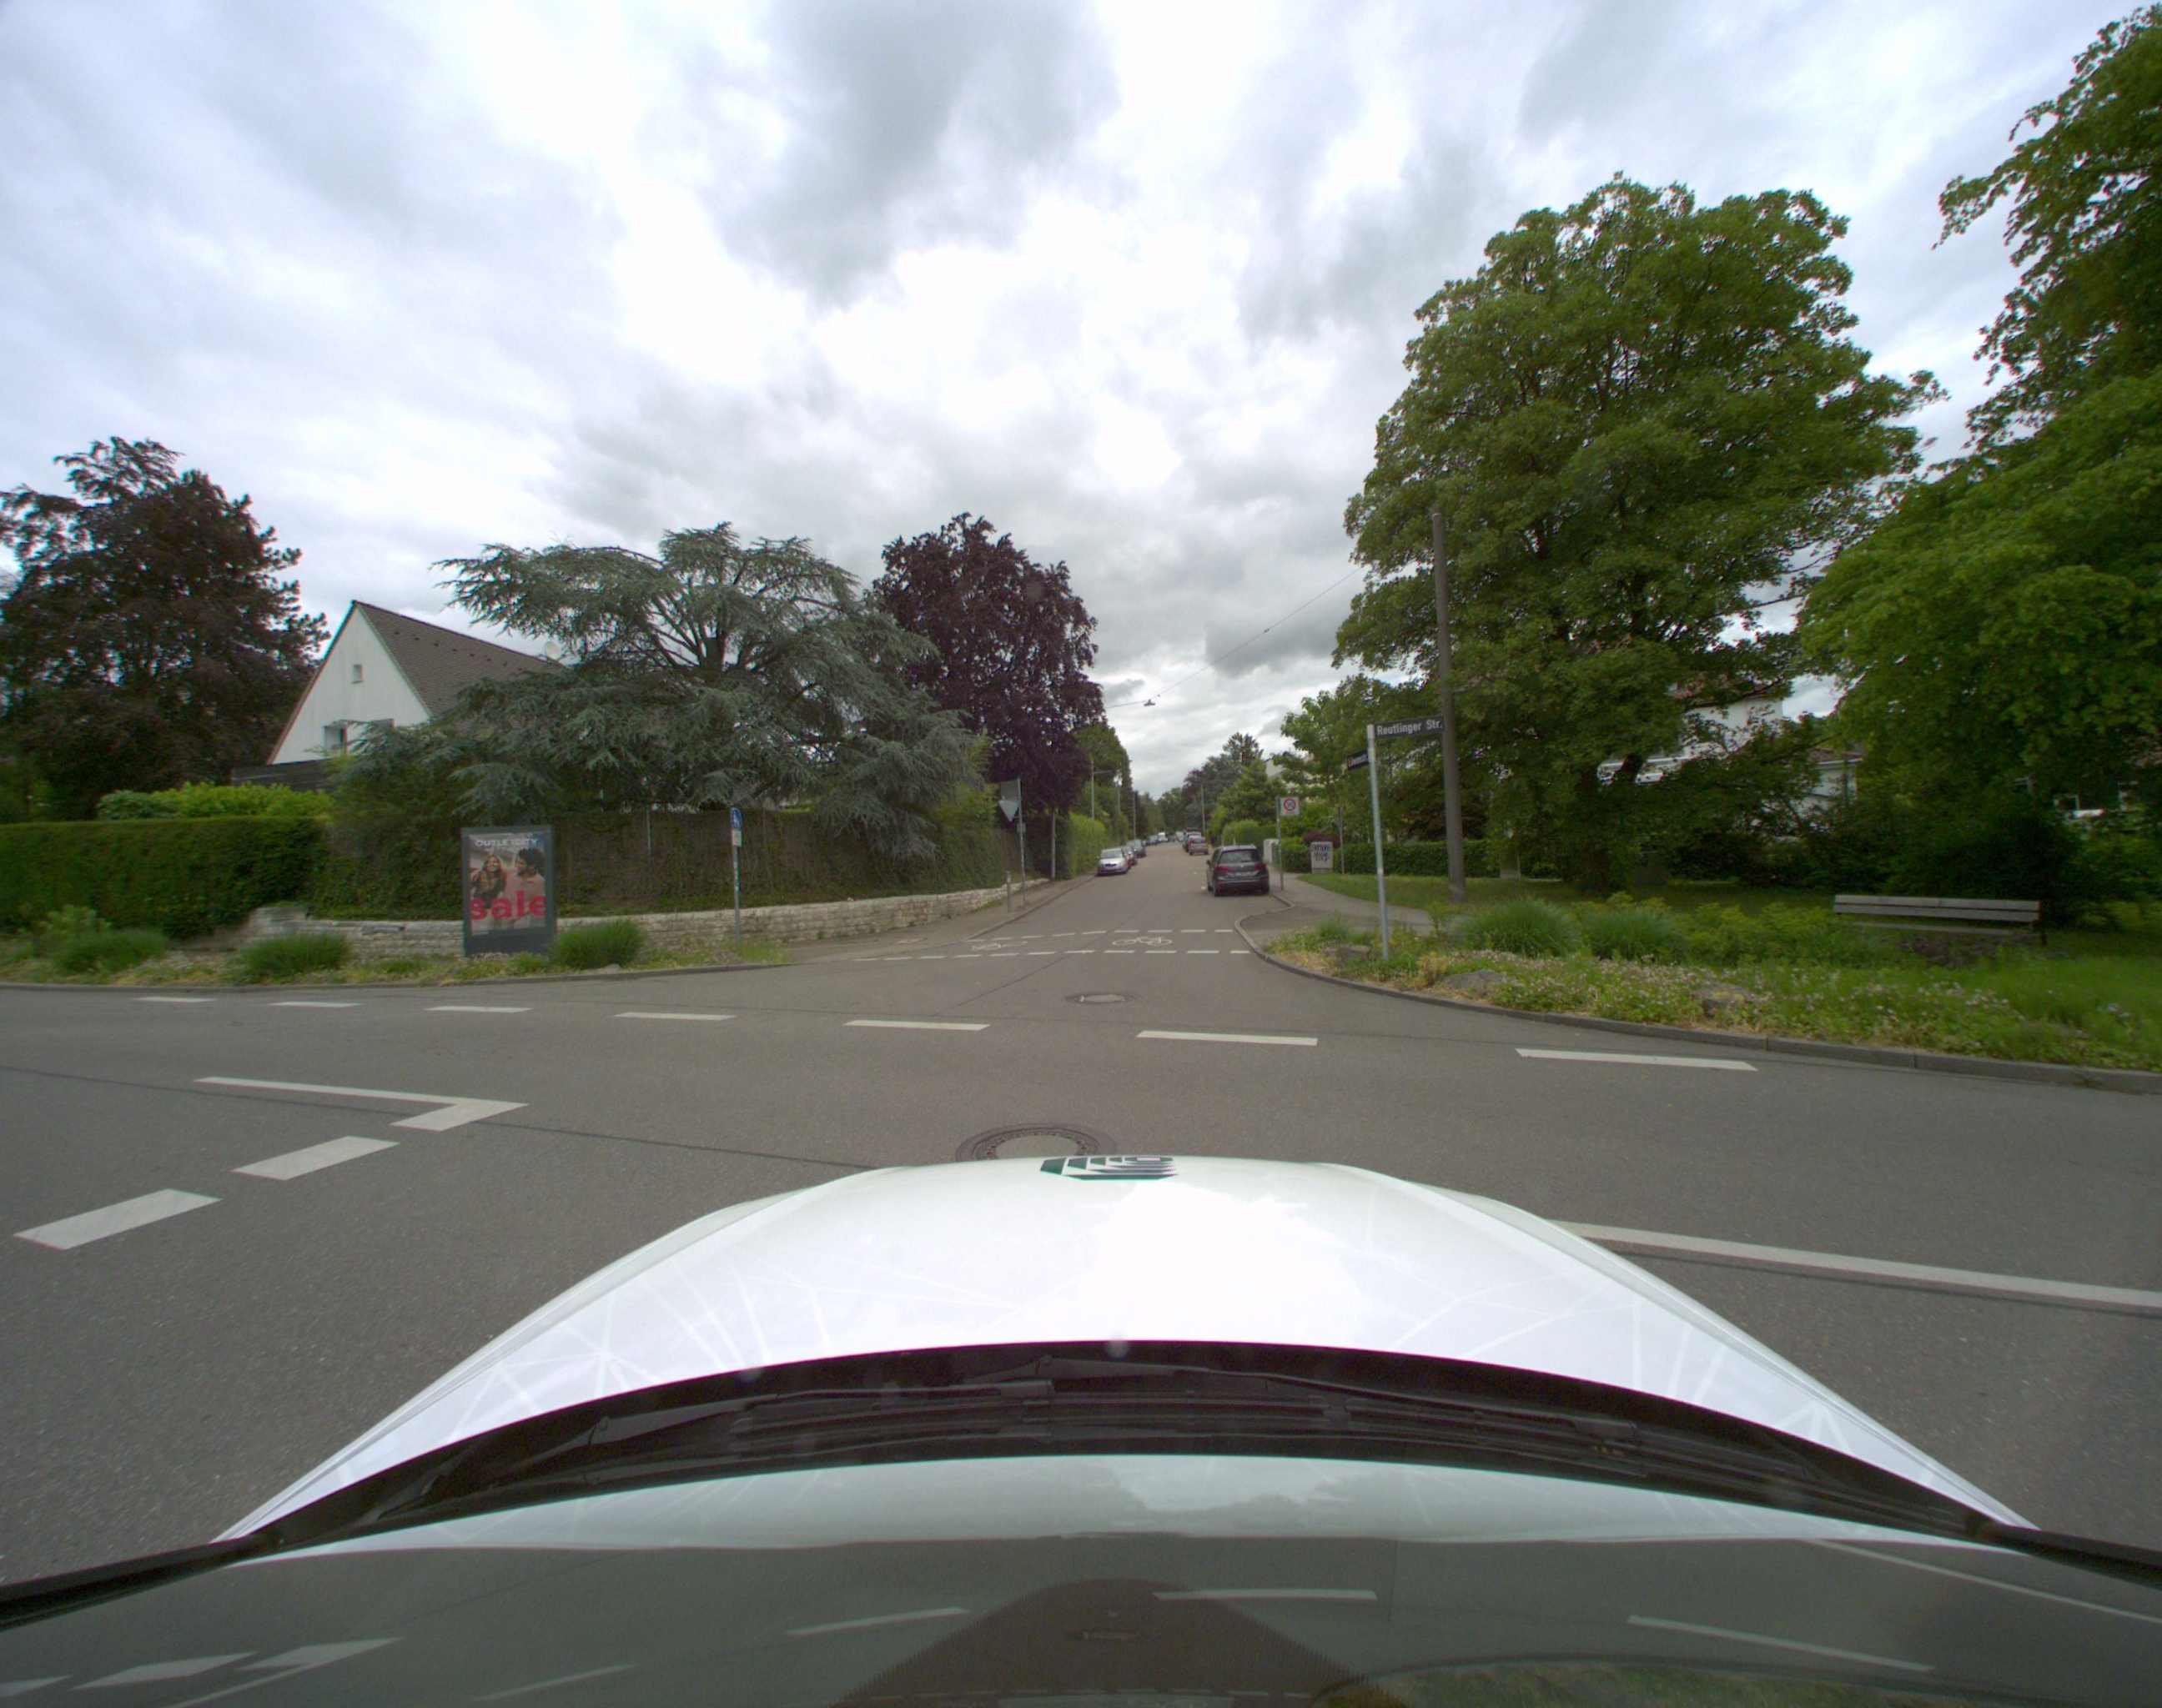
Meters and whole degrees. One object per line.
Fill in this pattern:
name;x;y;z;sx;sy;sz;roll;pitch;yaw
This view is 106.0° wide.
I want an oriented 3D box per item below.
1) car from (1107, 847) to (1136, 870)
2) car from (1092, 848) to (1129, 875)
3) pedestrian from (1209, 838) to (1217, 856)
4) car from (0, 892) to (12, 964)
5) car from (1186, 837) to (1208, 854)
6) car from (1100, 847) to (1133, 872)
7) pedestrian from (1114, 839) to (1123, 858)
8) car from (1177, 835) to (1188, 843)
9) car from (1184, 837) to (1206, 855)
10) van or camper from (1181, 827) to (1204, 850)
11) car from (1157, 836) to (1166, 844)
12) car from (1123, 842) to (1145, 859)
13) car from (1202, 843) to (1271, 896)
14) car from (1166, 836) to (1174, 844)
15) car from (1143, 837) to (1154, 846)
car;2.902;0.288;57.885;1.938;1.442;4.005;-3;0;4
car;1.751;0.404;47.283;1.938;1.442;4.005;-3;0;4
pedestrian;13.840;-0.767;85.534;0.753;1.871;0.621;-1;0;5
car;-24.023;1.496;16.360;3.954;1.464;1.870;-1;-2;19
car;9.937;-0.735;70.154;1.602;1.413;3.476;-1;0;3
car;2.305;0.314;52.413;1.938;1.442;4.005;-3;0;4
pedestrian;3.869;-0.566;84.794;0.850;2.013;0.873;-1;0;0
car;22.163;-3.280;177.793;1.933;1.796;4.197;-1;0;2
car;11.081;-0.807;79.358;1.739;1.640;3.732;-3;0;4
van or camper;12.545;-1.719;91.945;2.103;2.404;5.251;-3;0;4
car;15.752;-2.743;159.654;1.647;1.335;3.788;-1;0;7
car;4.924;-0.316;75.394;1.938;1.442;4.005;-3;0;4
car;5.069;0.476;27.035;1.808;1.536;4.006;-3;0;5
car;19.918;-3.108;182.224;1.806;1.574;4.006;-3;0;5
car;11.245;-2.034;135.357;1.706;1.462;3.663;-1;0;6
